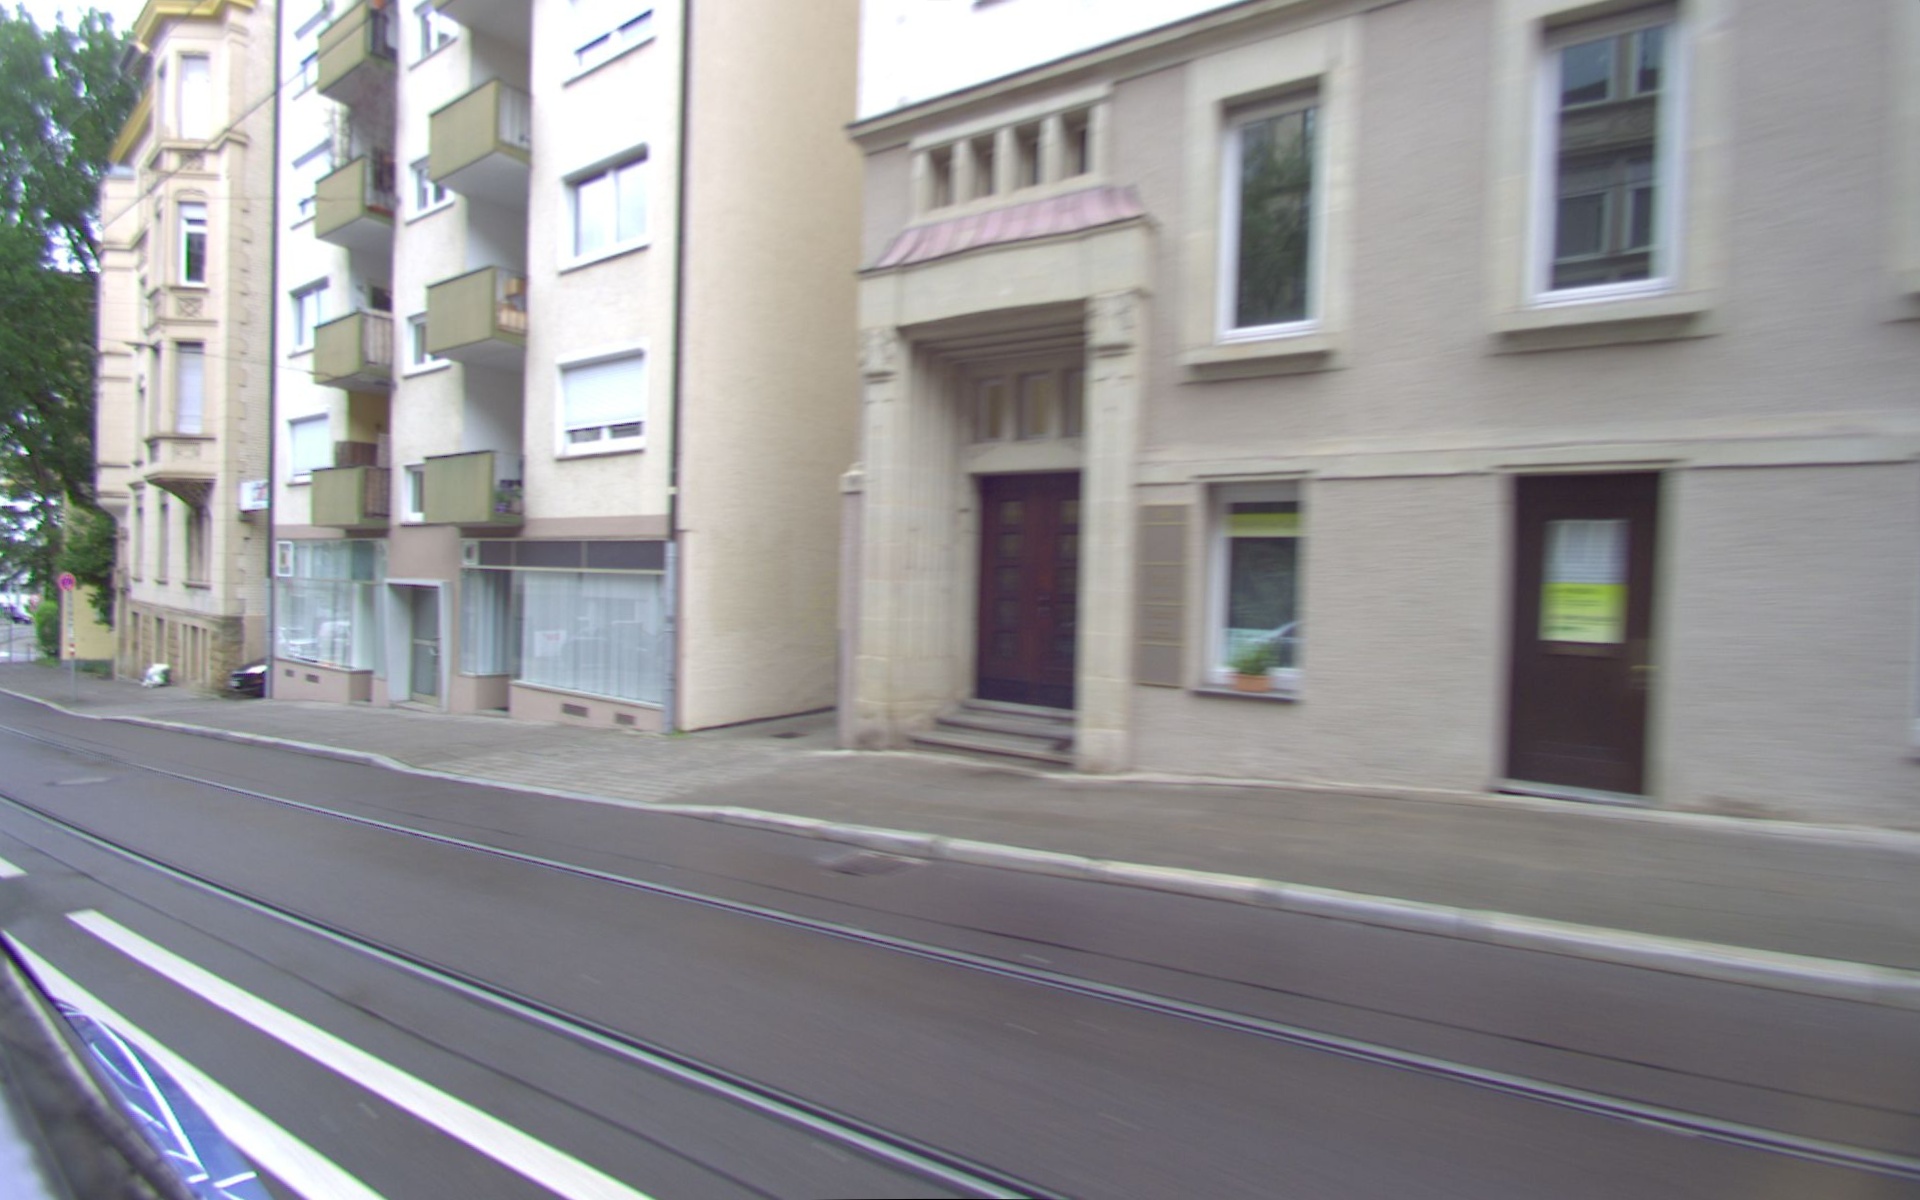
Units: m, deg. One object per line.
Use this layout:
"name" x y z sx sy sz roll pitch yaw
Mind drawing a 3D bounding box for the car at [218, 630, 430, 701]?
"car" -15.043 1.491 24.087 1.739 1.465 3.946 -2 -1 40
